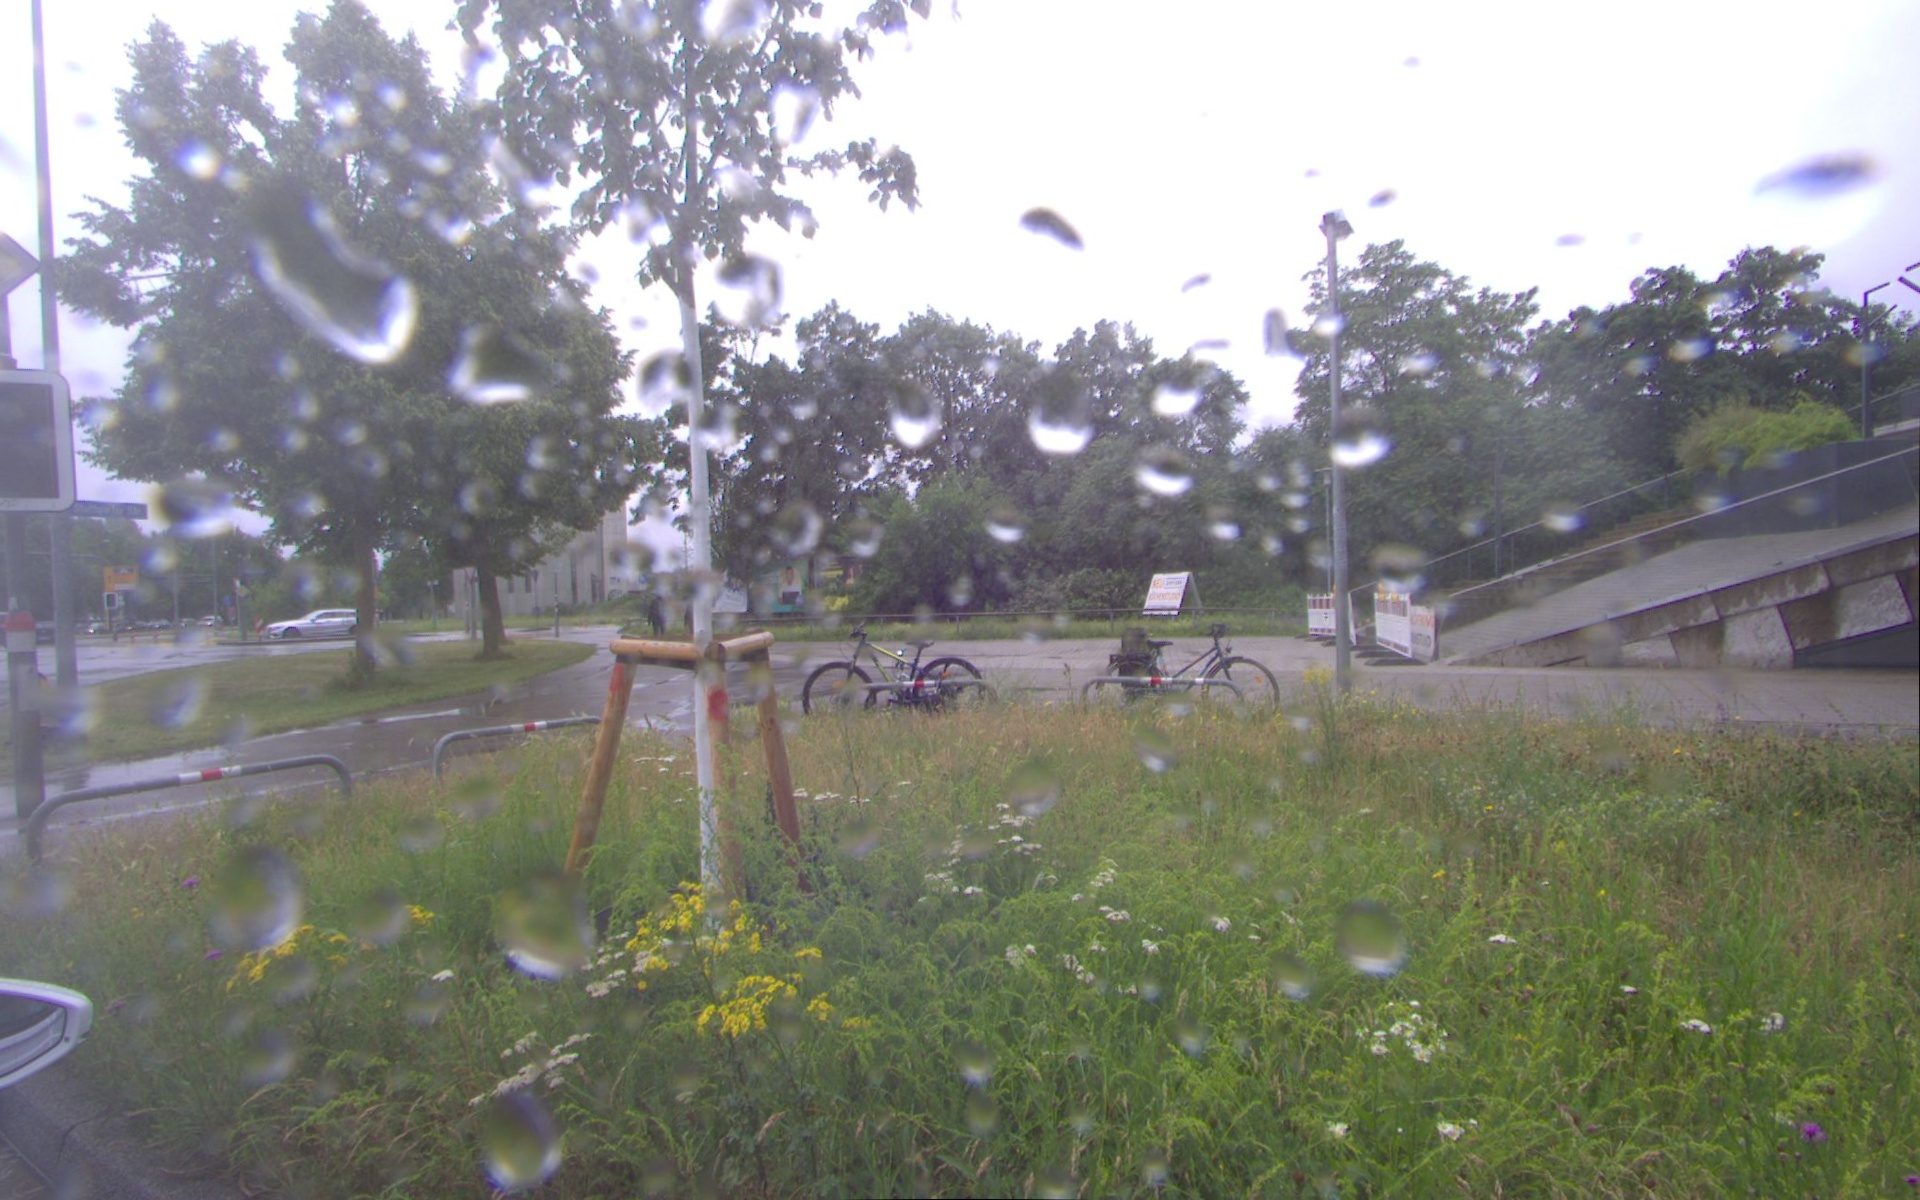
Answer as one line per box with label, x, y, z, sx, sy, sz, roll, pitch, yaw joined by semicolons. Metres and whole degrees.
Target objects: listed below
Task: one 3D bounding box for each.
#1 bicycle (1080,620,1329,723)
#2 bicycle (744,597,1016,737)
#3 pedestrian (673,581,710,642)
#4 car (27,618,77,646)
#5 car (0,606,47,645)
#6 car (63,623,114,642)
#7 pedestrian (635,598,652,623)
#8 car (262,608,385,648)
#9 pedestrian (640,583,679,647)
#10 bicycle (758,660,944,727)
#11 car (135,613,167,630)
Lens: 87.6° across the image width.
bicycle;2.220;0.617;9.213;2.131;0.858;0.633;-1;0;29
bicycle;-0.740;0.587;9.403;2.480;1.205;0.552;-1;1;-17
pedestrian;-8.090;0.347;30.169;0.906;1.807;0.808;0;-1;-3
car;-51.741;1.804;57.099;1.673;1.512;3.228;-1;0;-35
car;-41.795;1.093;42.616;3.933;1.668;1.785;1;-2;-21
car;-81.576;3.036;93.824;1.964;1.772;3.996;0;-2;-14
pedestrian;-23.304;0.751;73.685;0.705;1.794;0.948;-1;-2;42
car;-31.418;1.347;49.545;1.768;1.835;4.800;0;0;39
pedestrian;-8.646;0.443;28.856;0.906;1.807;0.808;0;-1;-3
bicycle;-1.049;0.898;9.747;1.771;0.566;0.320;-1;1;-17
car;-95.182;2.556;117.871;1.763;2.039;3.665;0;-2;-20
